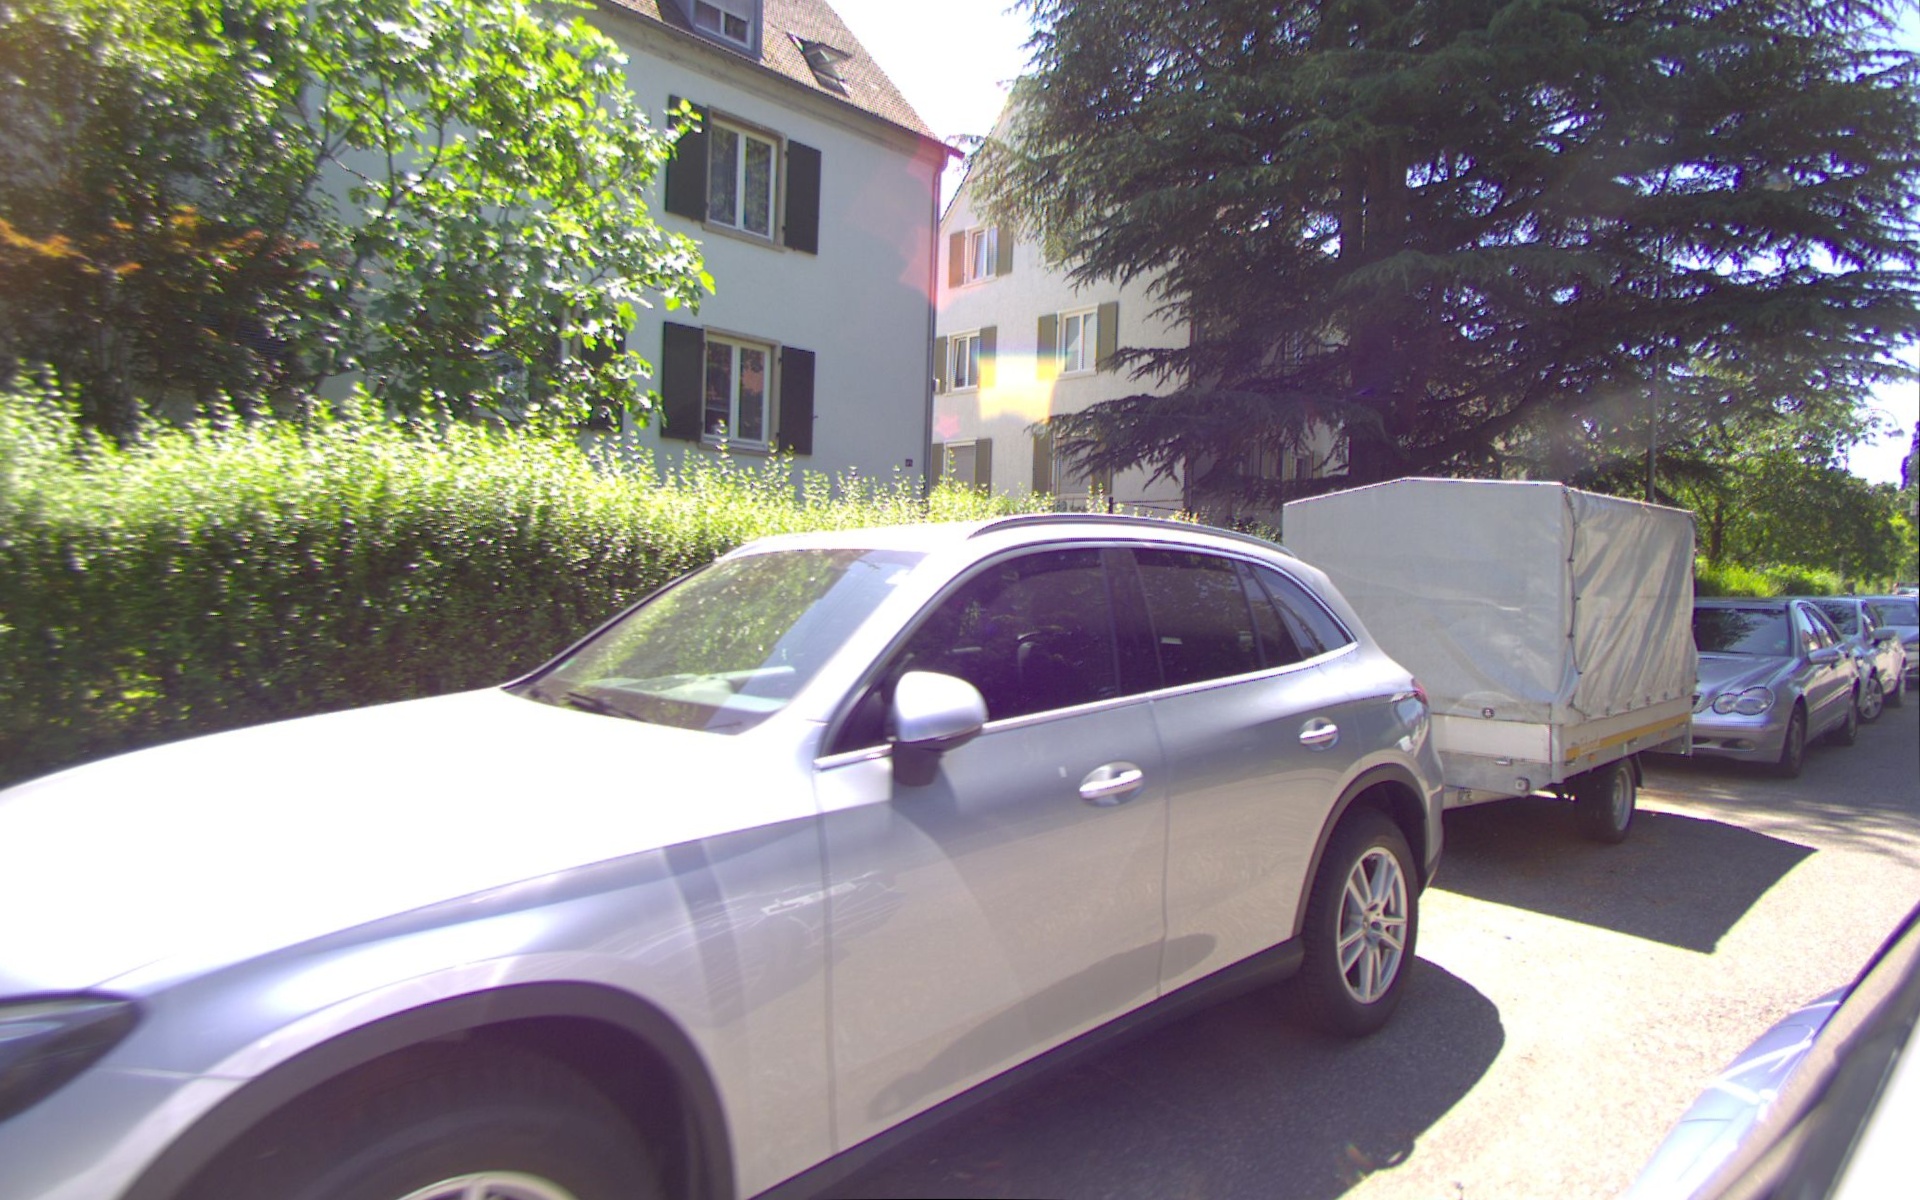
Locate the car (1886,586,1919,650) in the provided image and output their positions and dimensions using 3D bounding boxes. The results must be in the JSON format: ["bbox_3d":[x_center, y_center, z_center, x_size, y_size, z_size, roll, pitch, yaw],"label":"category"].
[{"bbox_3d":[23.488,0.455,24.241,3.940,1.462,1.583,2,-3,-43],"label":"car"}]

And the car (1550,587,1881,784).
[{"bbox_3d":[7.108,0.597,9.354,4.185,1.413,1.617,-1,1,-41],"label":"car"}]

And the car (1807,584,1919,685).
[{"bbox_3d":[15.588,0.486,16.902,4.300,1.469,1.617,-1,2,-42],"label":"car"}]

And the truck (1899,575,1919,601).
[{"bbox_3d":[88.131,-1.071,92.776,2.122,2.368,6.351,3,2,36],"label":"truck"}]

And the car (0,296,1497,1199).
[{"bbox_3d":[-0.227,0.501,2.983,4.525,1.652,1.774,0,0,-42],"label":"car"}]

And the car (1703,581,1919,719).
[{"bbox_3d":[11.019,0.527,12.926,3.993,1.488,1.617,0,1,-41],"label":"car"}]

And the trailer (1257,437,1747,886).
[{"bbox_3d":[3.659,0.283,6.575,3.644,2.094,1.682,0,0,-42],"label":"trailer"}]

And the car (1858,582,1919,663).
[{"bbox_3d":[19.775,0.400,20.768,3.996,1.532,1.616,-1,-1,-43],"label":"car"}]
